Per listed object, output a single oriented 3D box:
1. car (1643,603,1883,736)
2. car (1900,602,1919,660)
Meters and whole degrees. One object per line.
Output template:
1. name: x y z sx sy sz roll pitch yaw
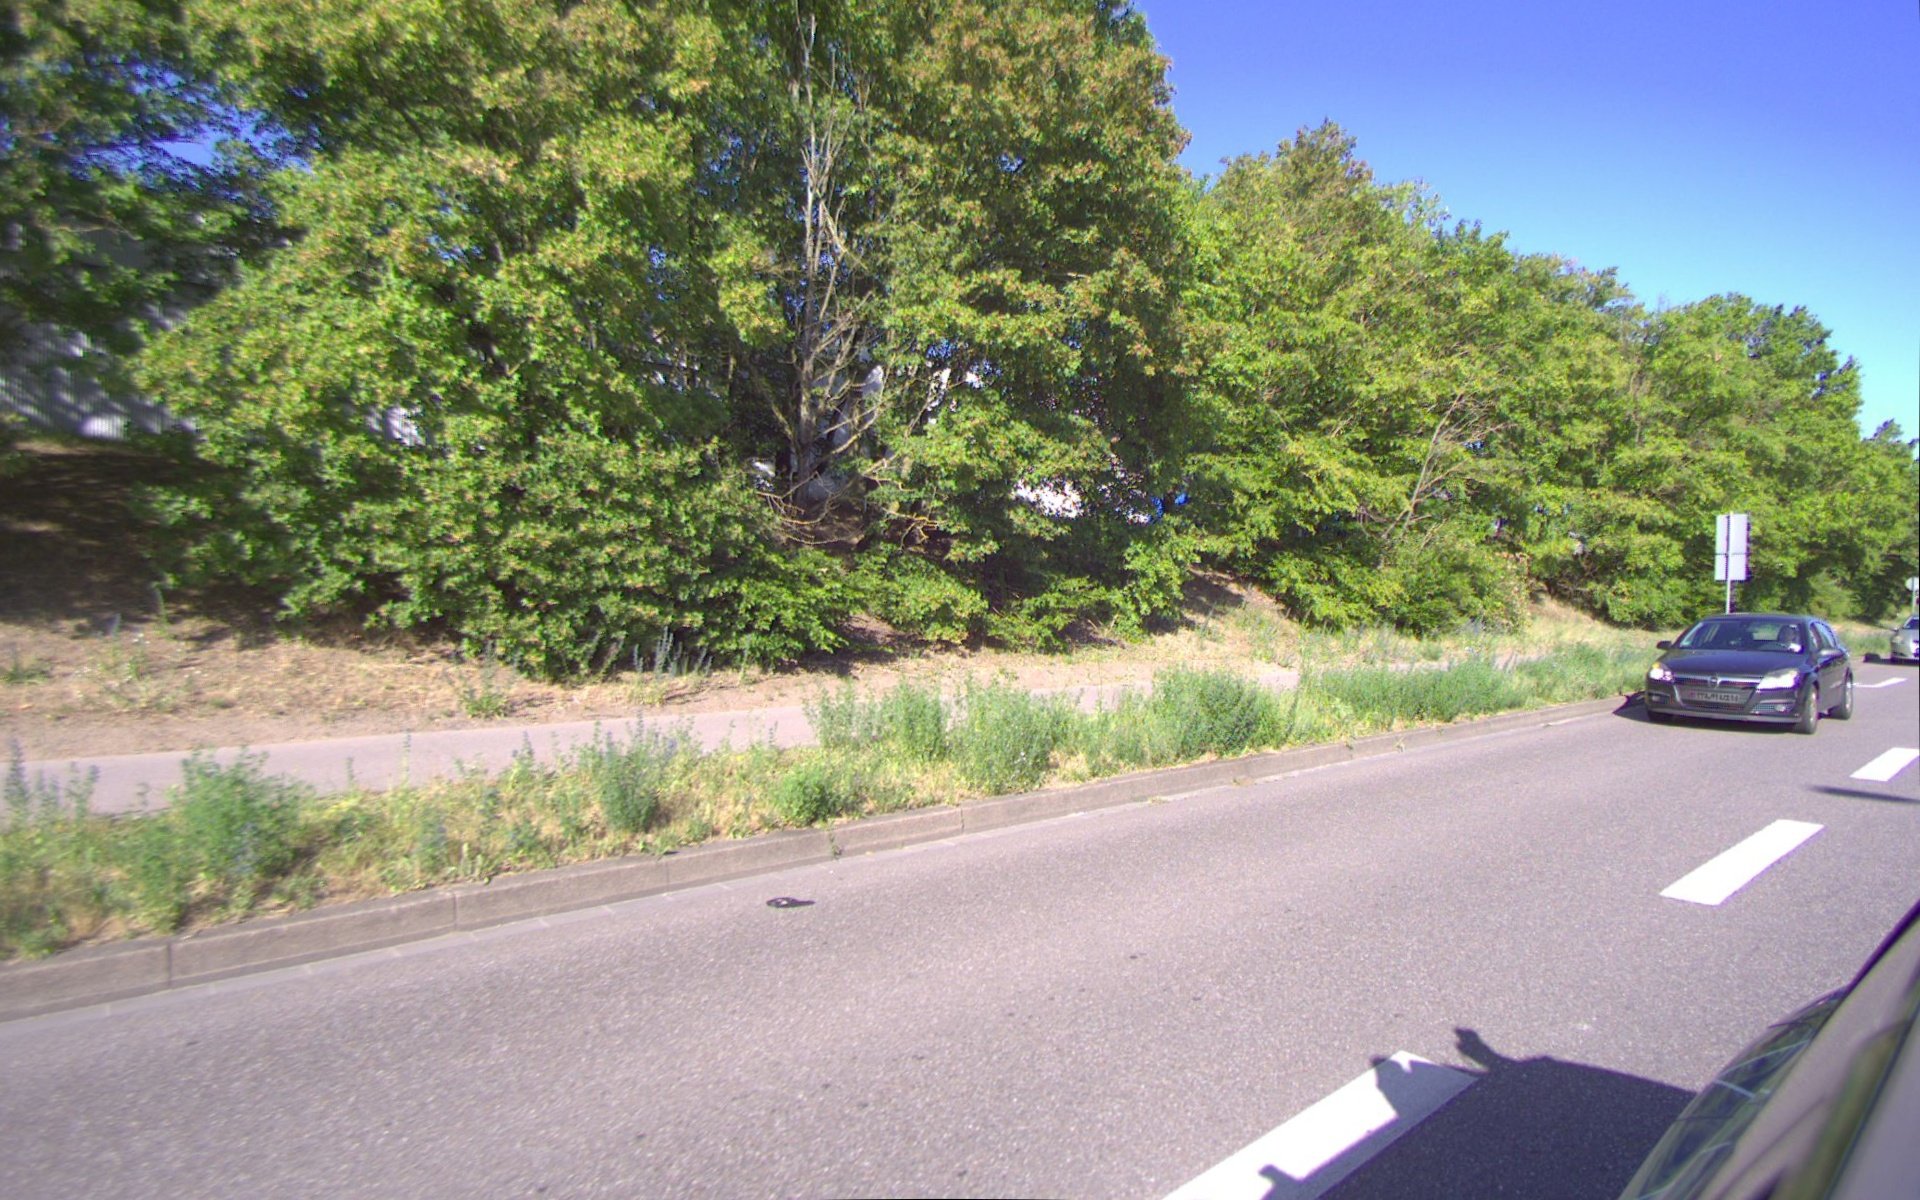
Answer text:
1. car: 10.778 0.788 13.473 4.295 1.460 1.737 0 0 -41
2. car: 27.911 0.857 28.415 4.036 1.556 1.786 0 0 -41
